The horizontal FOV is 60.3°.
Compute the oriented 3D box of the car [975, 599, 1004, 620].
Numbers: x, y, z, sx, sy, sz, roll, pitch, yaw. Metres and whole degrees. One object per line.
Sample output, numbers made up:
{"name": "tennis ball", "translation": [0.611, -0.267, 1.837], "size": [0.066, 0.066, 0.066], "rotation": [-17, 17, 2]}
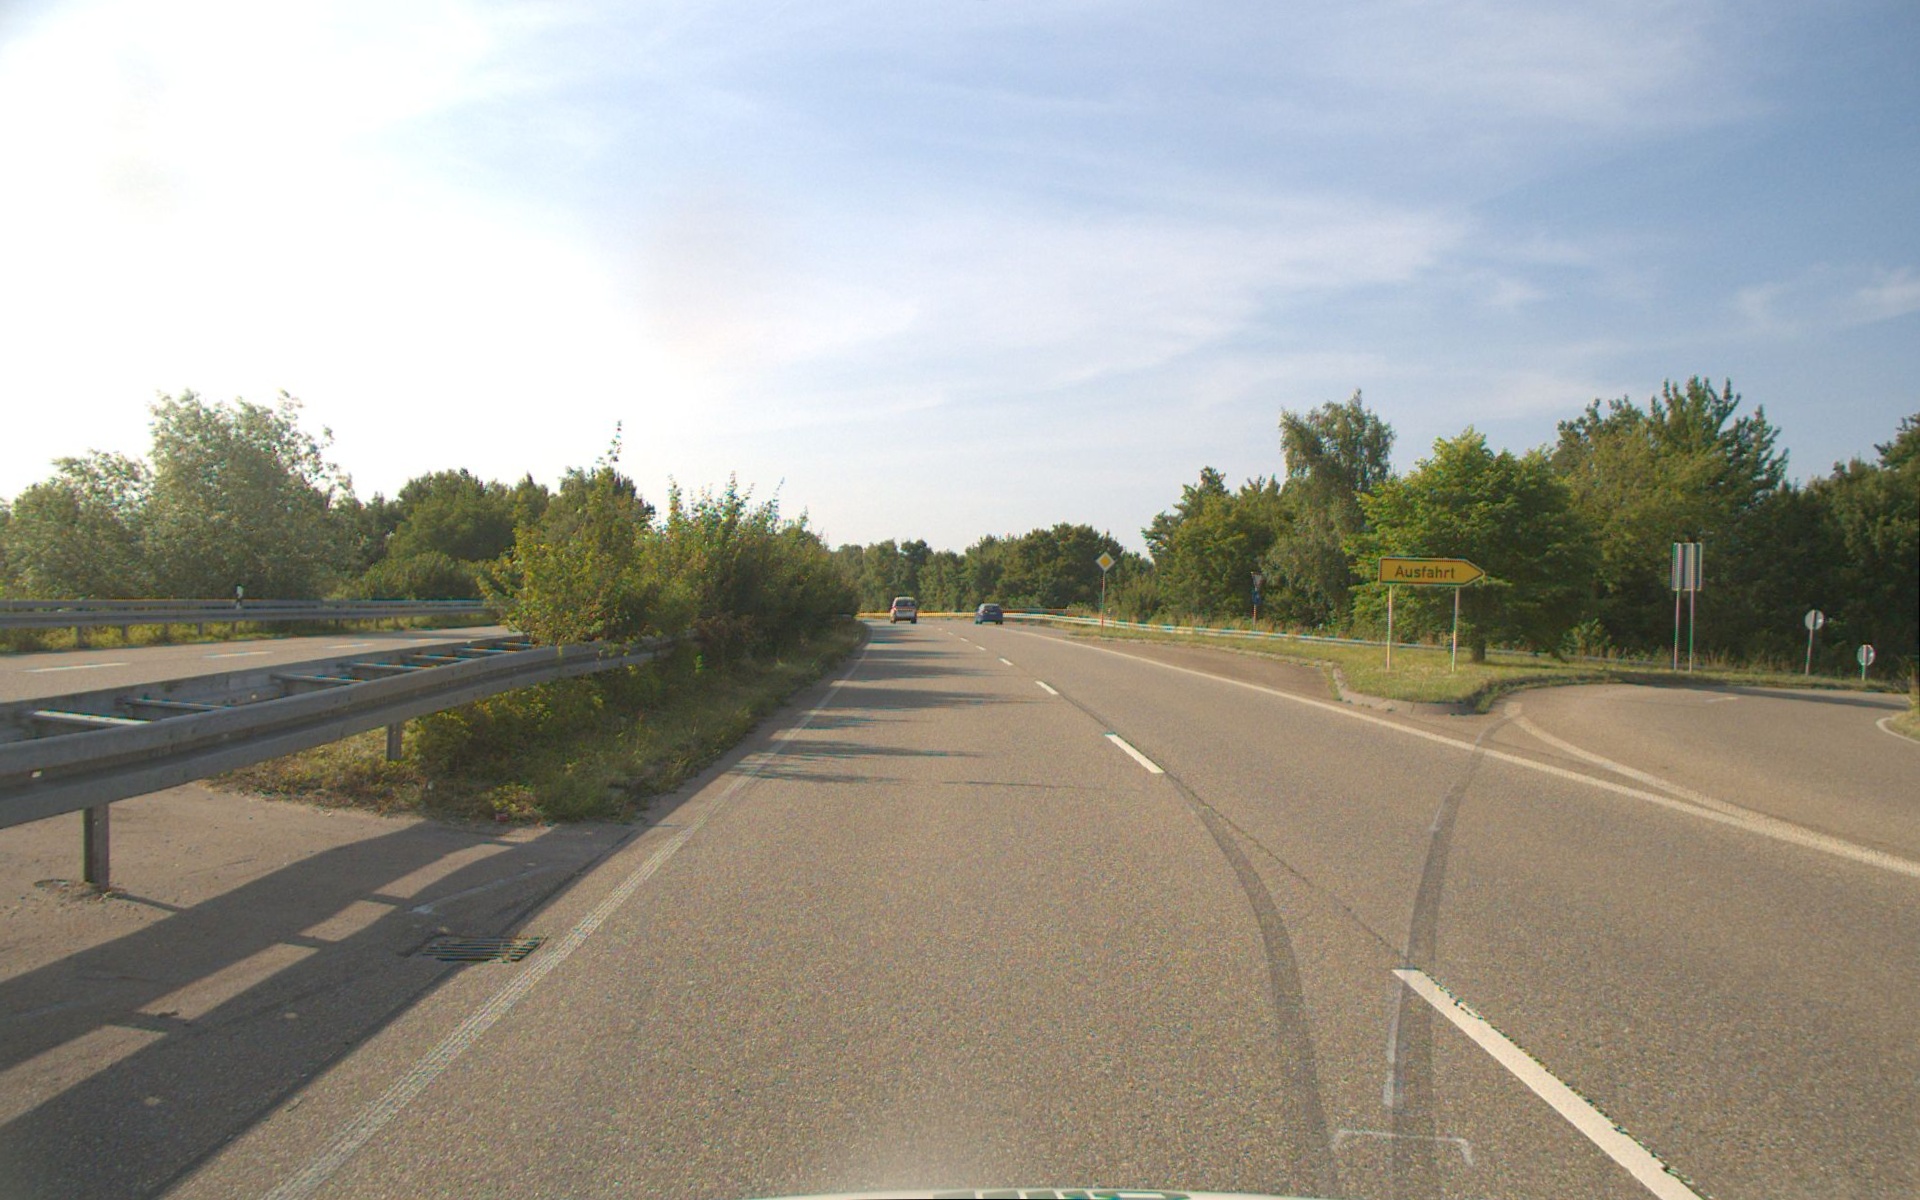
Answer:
{"name": "car", "translation": [2.136, 0.732, 120.641], "size": [1.744, 1.477, 3.997], "rotation": [0, -1, -4]}

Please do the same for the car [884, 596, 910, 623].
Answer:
{"name": "car", "translation": [-4.500, 0.679, 117.912], "size": [1.731, 1.915, 3.996], "rotation": [0, -1, -4]}
